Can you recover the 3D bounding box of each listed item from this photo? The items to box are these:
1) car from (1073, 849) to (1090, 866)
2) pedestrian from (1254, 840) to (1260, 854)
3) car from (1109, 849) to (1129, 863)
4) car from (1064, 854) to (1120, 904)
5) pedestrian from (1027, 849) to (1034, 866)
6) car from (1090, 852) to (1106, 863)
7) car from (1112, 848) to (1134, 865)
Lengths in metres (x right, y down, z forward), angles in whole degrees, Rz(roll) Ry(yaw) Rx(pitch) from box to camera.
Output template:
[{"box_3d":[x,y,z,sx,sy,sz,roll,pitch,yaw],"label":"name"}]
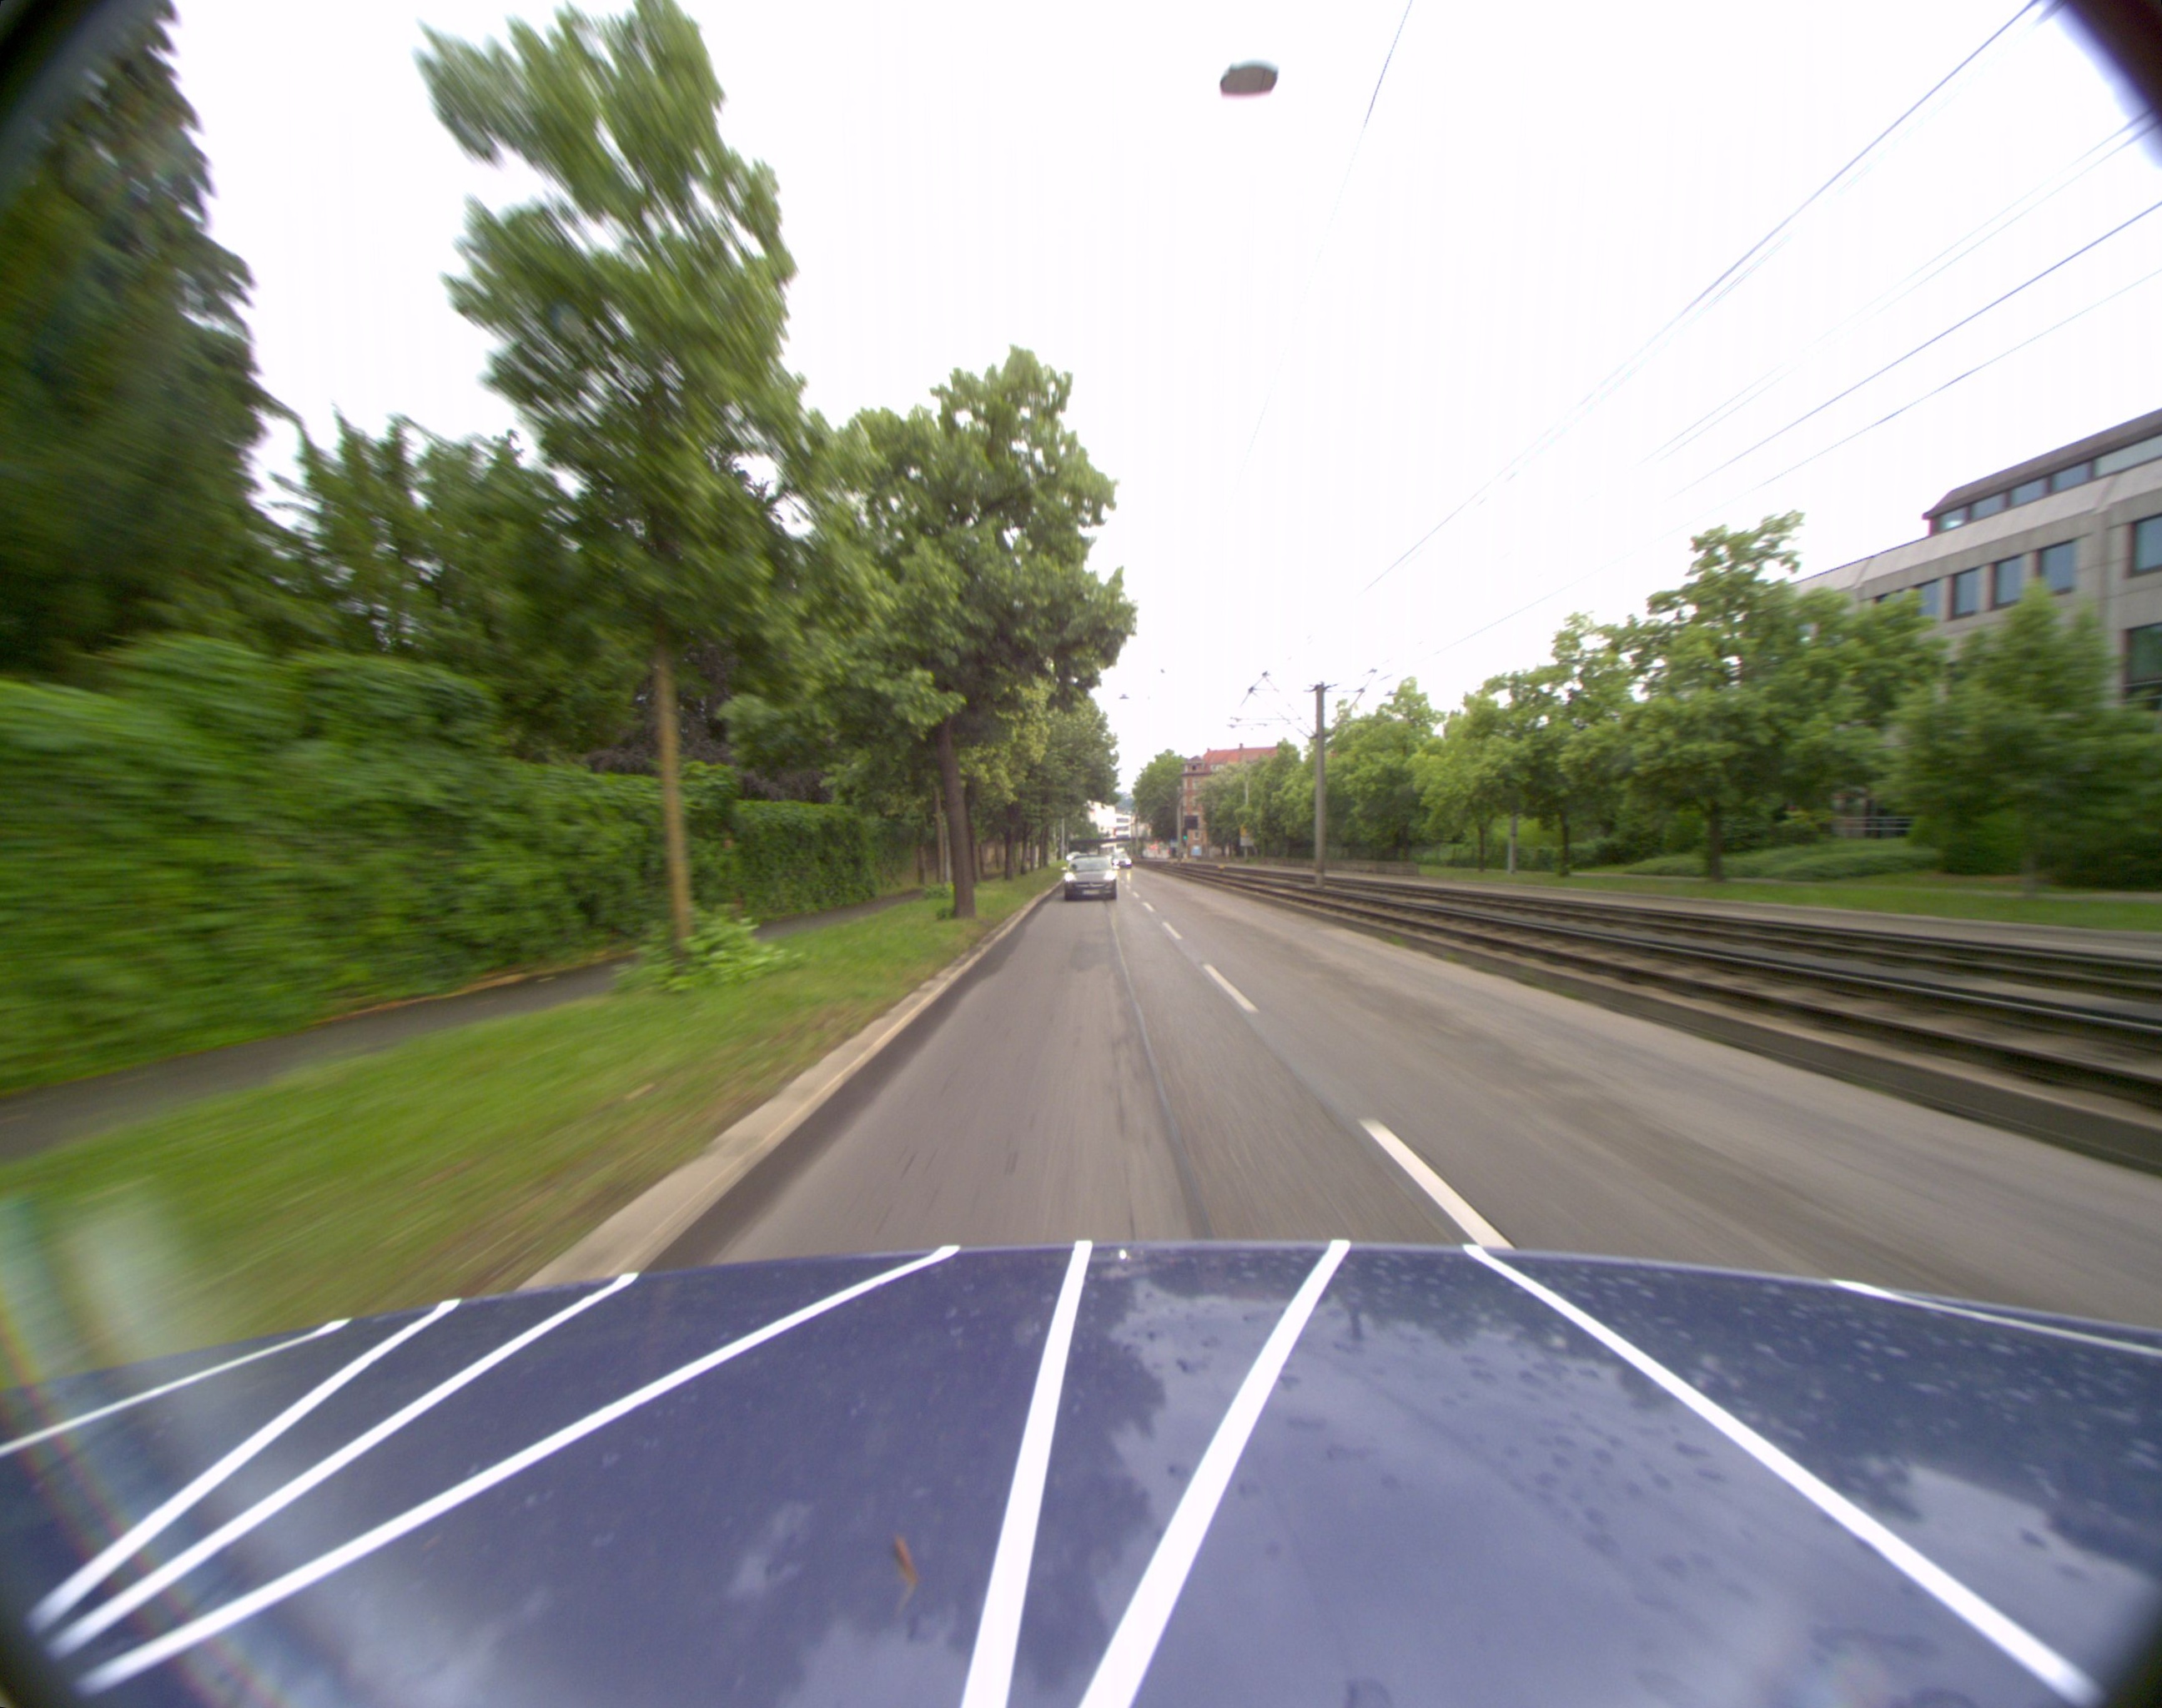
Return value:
[{"box_3d":[0.033,0.404,95.275,1.998,2.002,4.000,-2,1,1],"label":"car"},{"box_3d":[25.316,-1.005,109.179,0.597,1.892,0.654,-2,1,-3],"label":"pedestrian"},{"box_3d":[4.155,0.201,83.373,1.807,1.484,4.101,-1,1,-1],"label":"car"},{"box_3d":[0.329,0.758,24.653,1.658,1.483,3.829,0,0,0],"label":"car"},{"box_3d":[-5.187,0.372,78.050,0.710,1.769,0.900,-1,1,-2],"label":"pedestrian"},{"box_3d":[2.829,0.524,127.315,1.999,1.801,3.997,-2,1,-6],"label":"car"},{"box_3d":[3.852,0.244,69.645,1.806,1.483,4.102,0,0,0],"label":"car"}]
